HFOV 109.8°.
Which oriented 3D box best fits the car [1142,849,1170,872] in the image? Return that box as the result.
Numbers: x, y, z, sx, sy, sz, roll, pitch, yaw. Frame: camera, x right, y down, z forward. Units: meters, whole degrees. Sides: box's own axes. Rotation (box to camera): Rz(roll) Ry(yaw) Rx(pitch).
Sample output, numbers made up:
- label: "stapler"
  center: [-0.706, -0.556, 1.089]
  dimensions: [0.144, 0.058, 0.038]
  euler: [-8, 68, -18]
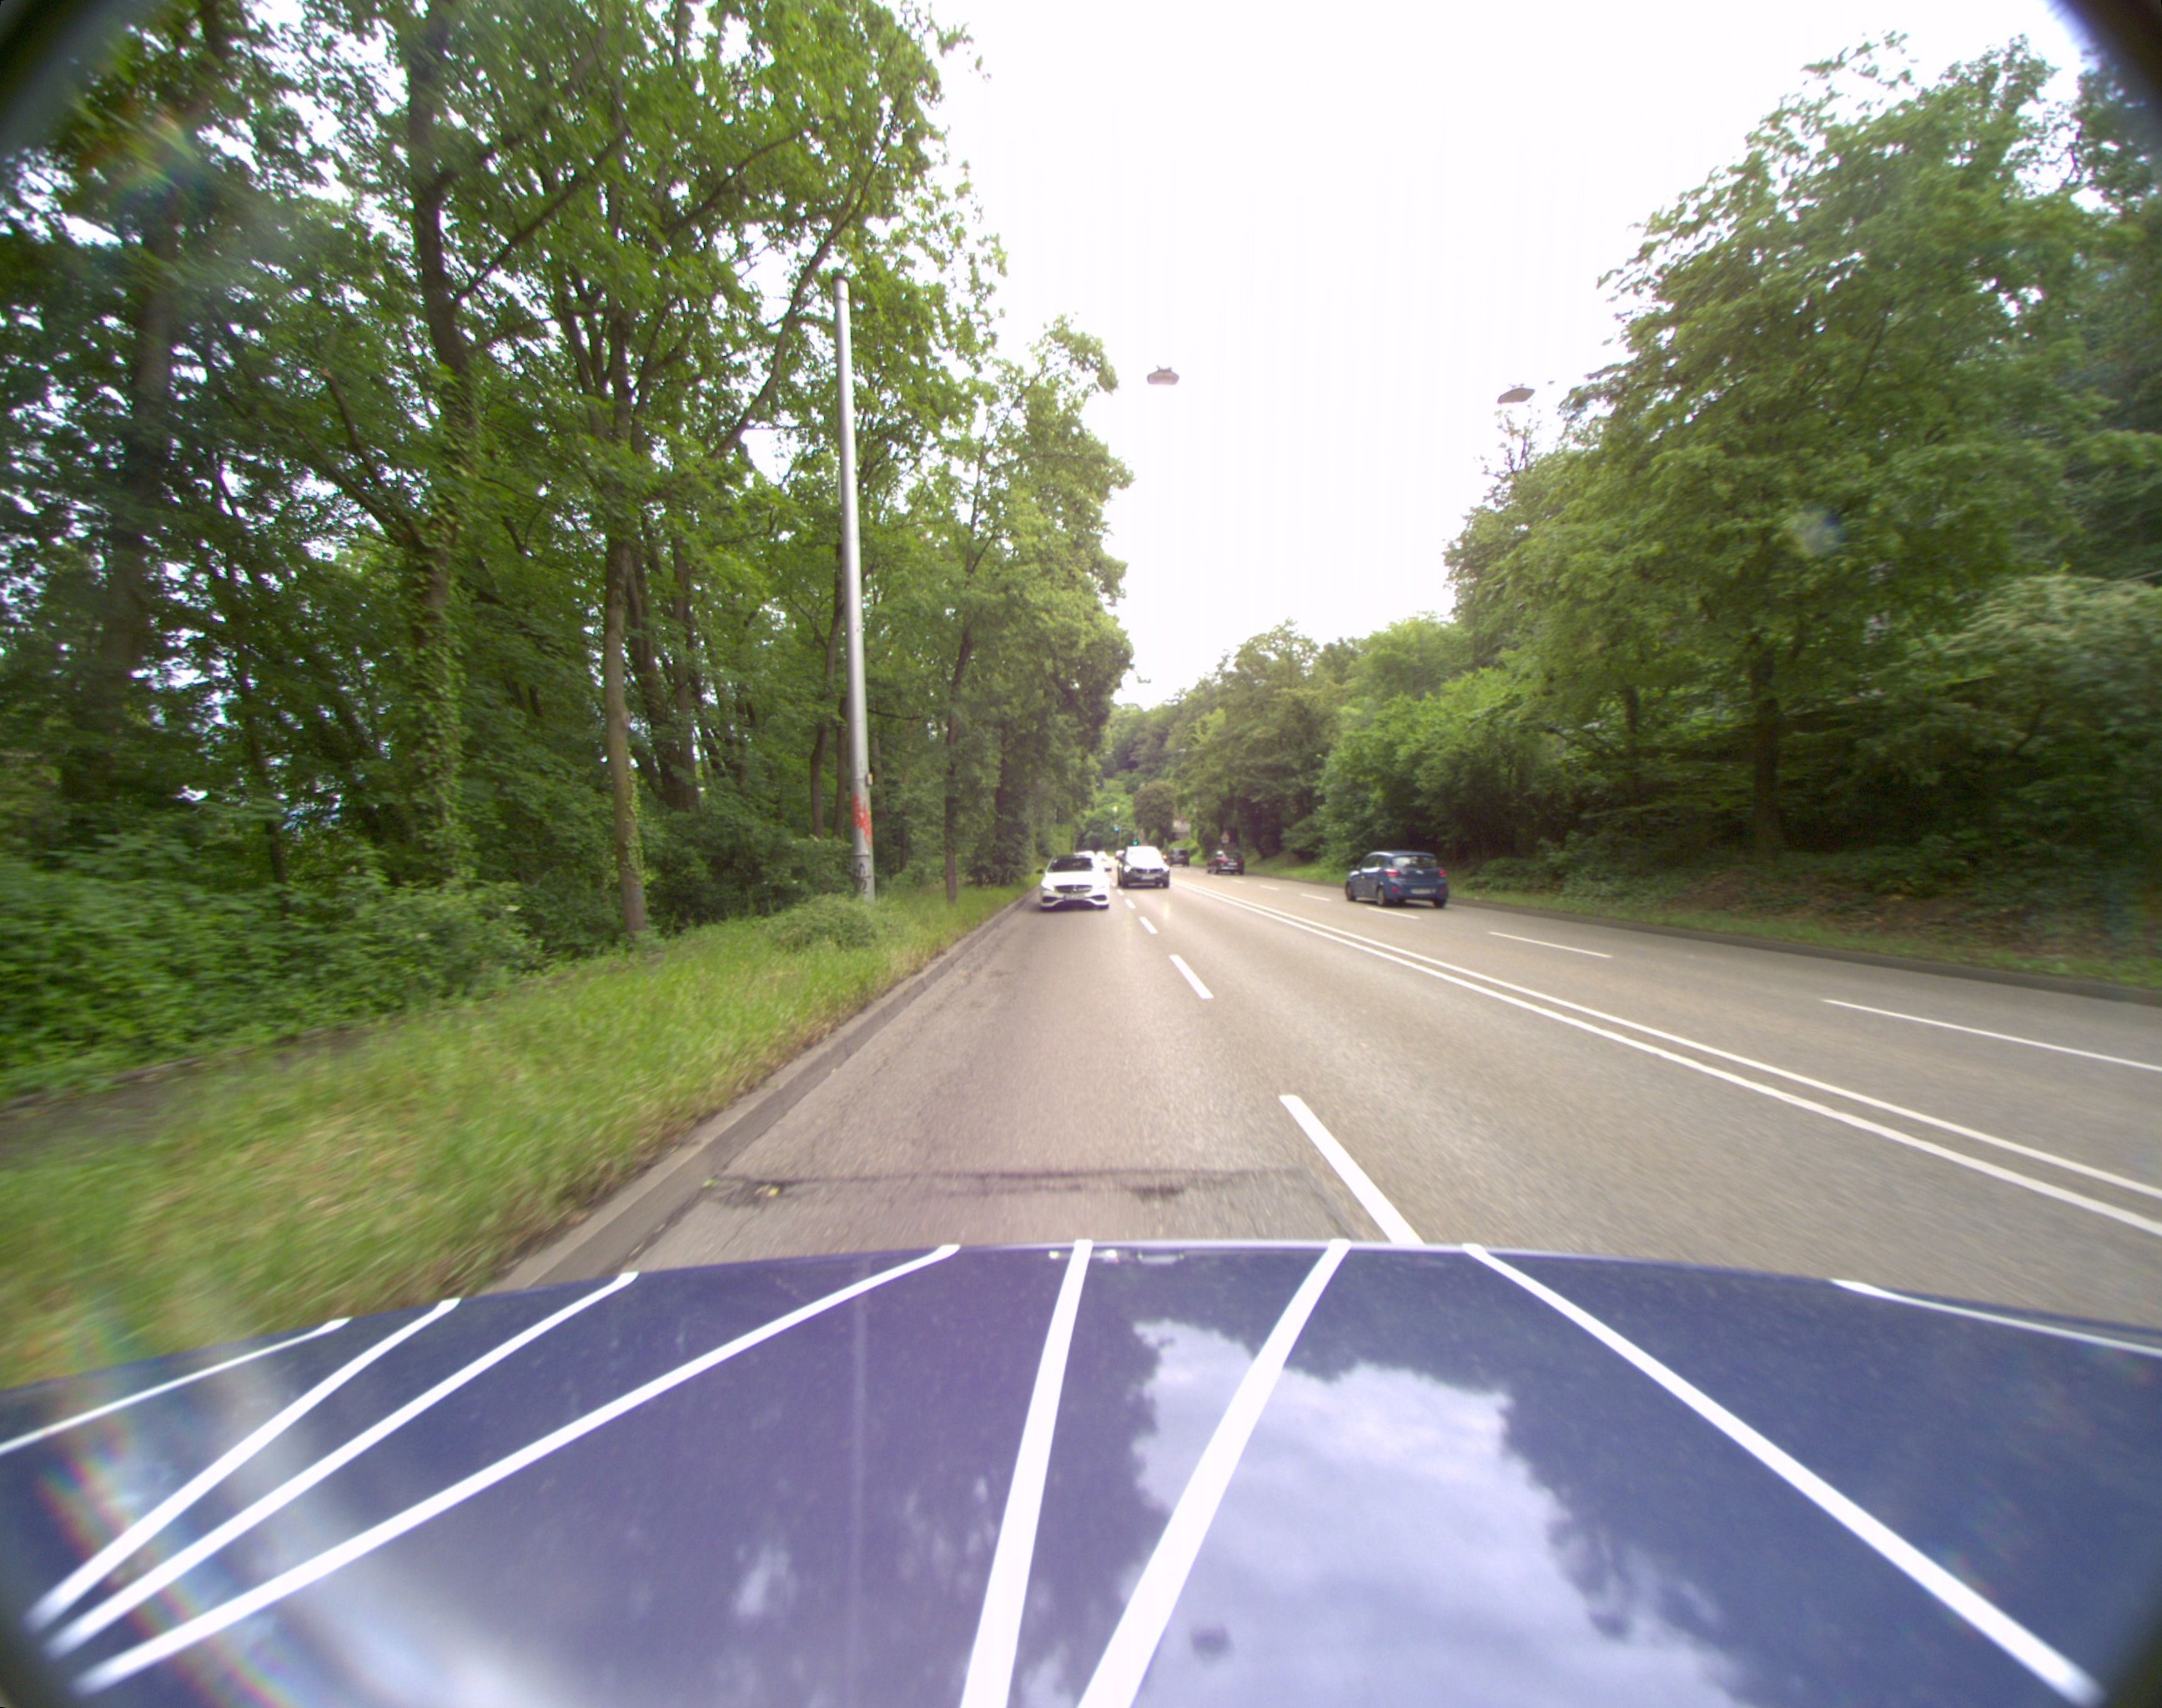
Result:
- label: "car"
  center: [6.060, 0.476, 61.796]
  dimensions: [1.691, 1.453, 3.999]
  euler: [-12, 1, 1]

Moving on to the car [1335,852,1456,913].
- label: "car"
  center: [8.617, 0.720, 21.189]
  dimensions: [1.674, 1.477, 3.999]
  euler: [0, 1, 0]

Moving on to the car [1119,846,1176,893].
- label: "car"
  center: [2.541, 0.541, 30.130]
  dimensions: [1.871, 1.653, 4.191]
  euler: [1, 1, 0]

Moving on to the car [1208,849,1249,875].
- label: "car"
  center: [9.216, 0.462, 47.802]
  dimensions: [1.736, 1.502, 4.432]
  euler: [1, 1, 1]

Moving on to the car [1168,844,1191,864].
- label: "car"
  center: [9.461, -0.010, 73.017]
  dimensions: [1.662, 1.763, 4.134]
  euler: [1, 1, 1]

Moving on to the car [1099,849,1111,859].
- label: "car"
  center: [3.857, -0.041, 122.959]
  dimensions: [1.697, 1.573, 3.999]
  euler: [-2, 1, 0]
